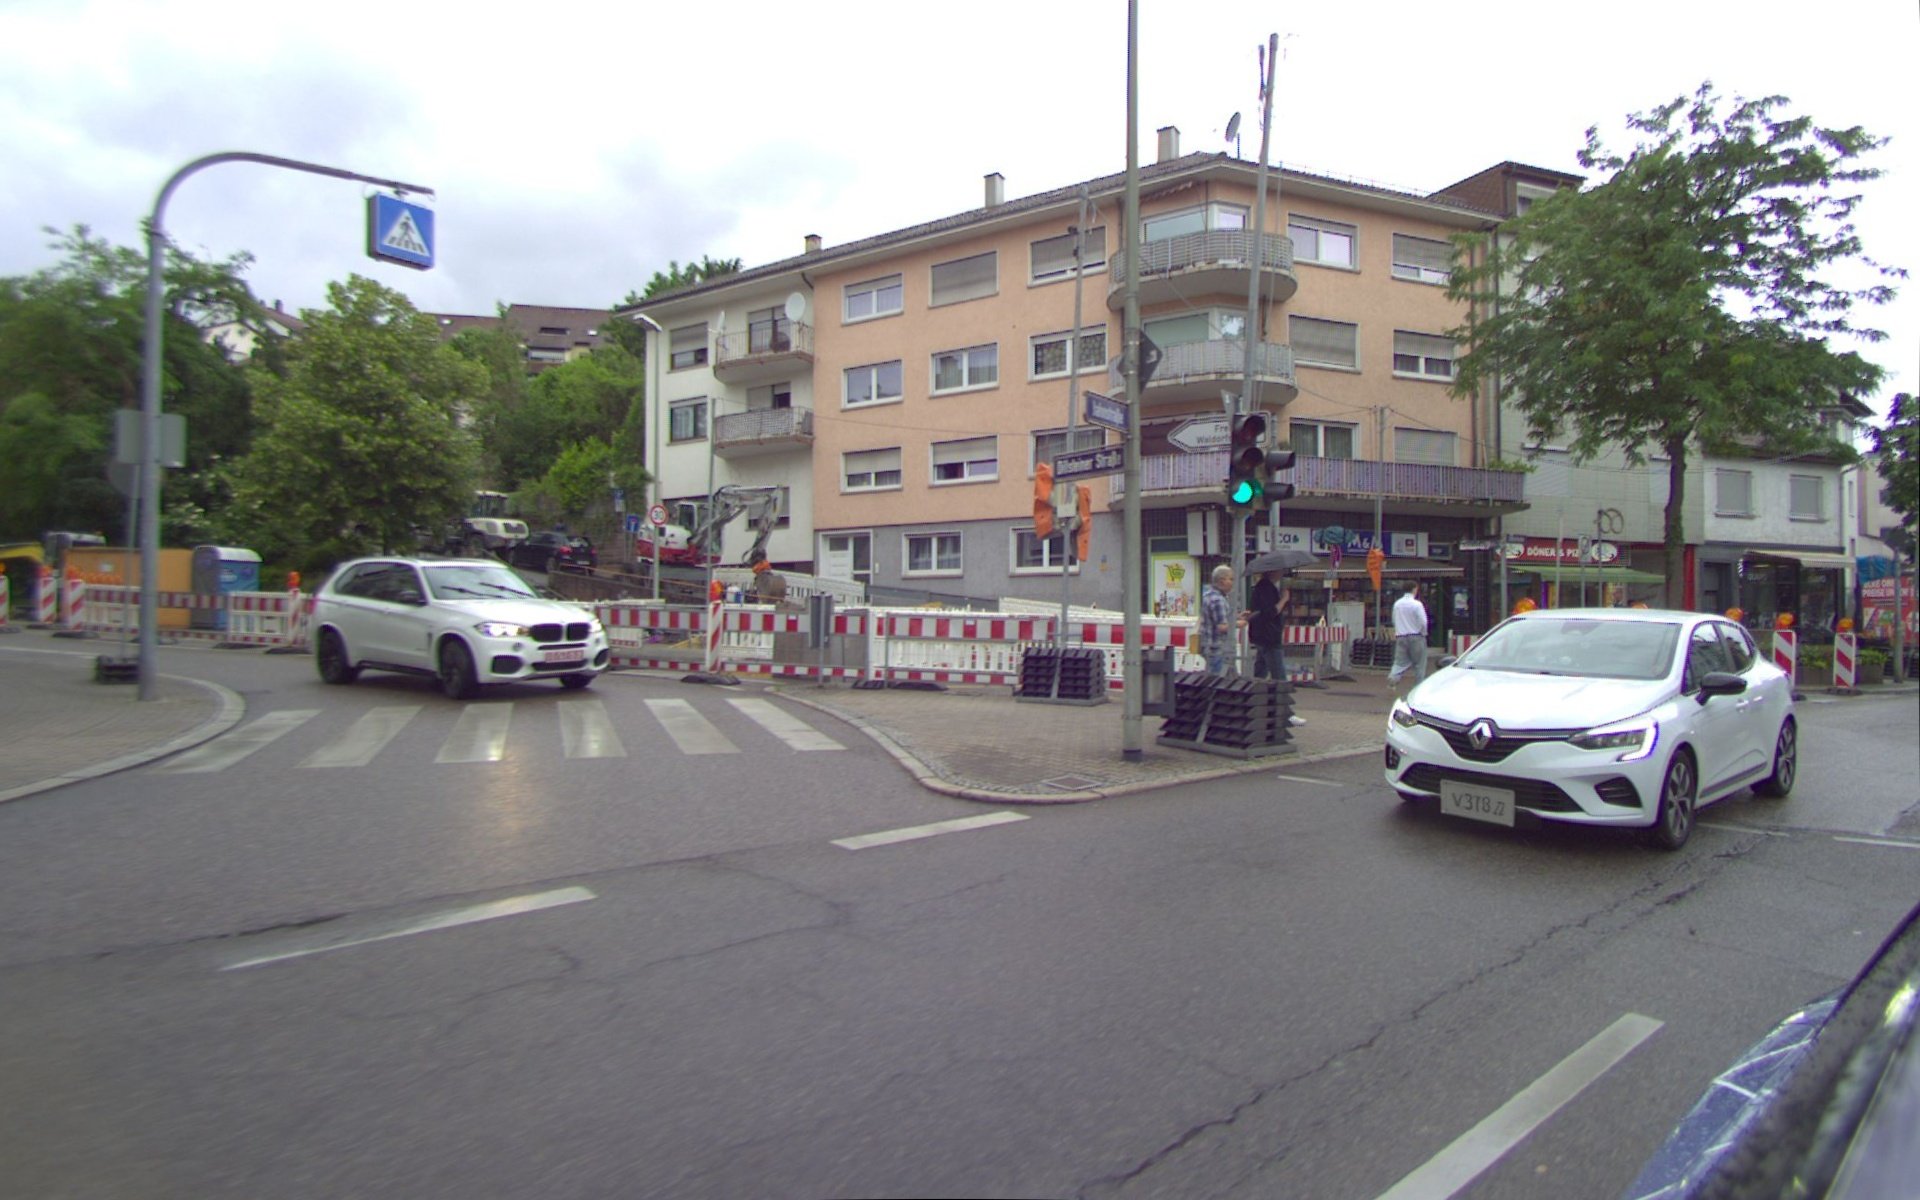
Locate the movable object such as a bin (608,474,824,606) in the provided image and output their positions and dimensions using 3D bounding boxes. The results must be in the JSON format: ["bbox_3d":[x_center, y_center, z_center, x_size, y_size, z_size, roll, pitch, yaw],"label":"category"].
[{"bbox_3d":[-7.811,-1.945,32.115,6.489,3.681,2.711,6,2,32],"label":"movable object such as a bin"}]

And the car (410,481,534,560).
[{"bbox_3d":[-19.791,-3.229,40.990,5.057,2.647,1.871,8,3,29],"label":"car"}]

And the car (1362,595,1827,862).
[{"bbox_3d":[4.767,0.692,7.393,3.928,1.421,1.680,0,1,-39],"label":"car"}]

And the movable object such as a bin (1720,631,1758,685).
[{"bbox_3d":[14.160,1.048,18.395,0.522,0.941,0.420,2,-1,-39],"label":"movable object such as a bin"}]

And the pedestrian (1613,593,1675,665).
[{"bbox_3d":[17.983,0.739,26.622,0.888,1.814,0.972,0,2,-7],"label":"pedestrian"}]

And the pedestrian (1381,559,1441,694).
[{"bbox_3d":[6.645,0.386,14.893,0.653,1.904,0.981,0,-2,33],"label":"pedestrian"}]

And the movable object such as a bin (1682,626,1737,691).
[{"bbox_3d":[12.639,0.979,17.059,0.522,1.044,0.622,2,-1,-38],"label":"movable object such as a bin"}]

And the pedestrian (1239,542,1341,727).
[{"bbox_3d":[3.527,0.342,10.901,0.905,1.884,1.028,0,1,11],"label":"pedestrian"}]

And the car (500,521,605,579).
[{"bbox_3d":[-15.150,-1.877,37.592,3.696,1.745,1.742,8,3,34],"label":"car"}]

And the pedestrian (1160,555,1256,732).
[{"bbox_3d":[2.479,0.413,10.190,0.807,1.709,0.793,-1,1,5],"label":"pedestrian"}]

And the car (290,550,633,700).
[{"bbox_3d":[-6.882,0.213,13.831,4.760,1.742,1.978,2,2,31],"label":"car"}]

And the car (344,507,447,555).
[{"bbox_3d":[-24.504,-2.992,43.896,4.513,1.584,1.869,8,3,32],"label":"car"}]
